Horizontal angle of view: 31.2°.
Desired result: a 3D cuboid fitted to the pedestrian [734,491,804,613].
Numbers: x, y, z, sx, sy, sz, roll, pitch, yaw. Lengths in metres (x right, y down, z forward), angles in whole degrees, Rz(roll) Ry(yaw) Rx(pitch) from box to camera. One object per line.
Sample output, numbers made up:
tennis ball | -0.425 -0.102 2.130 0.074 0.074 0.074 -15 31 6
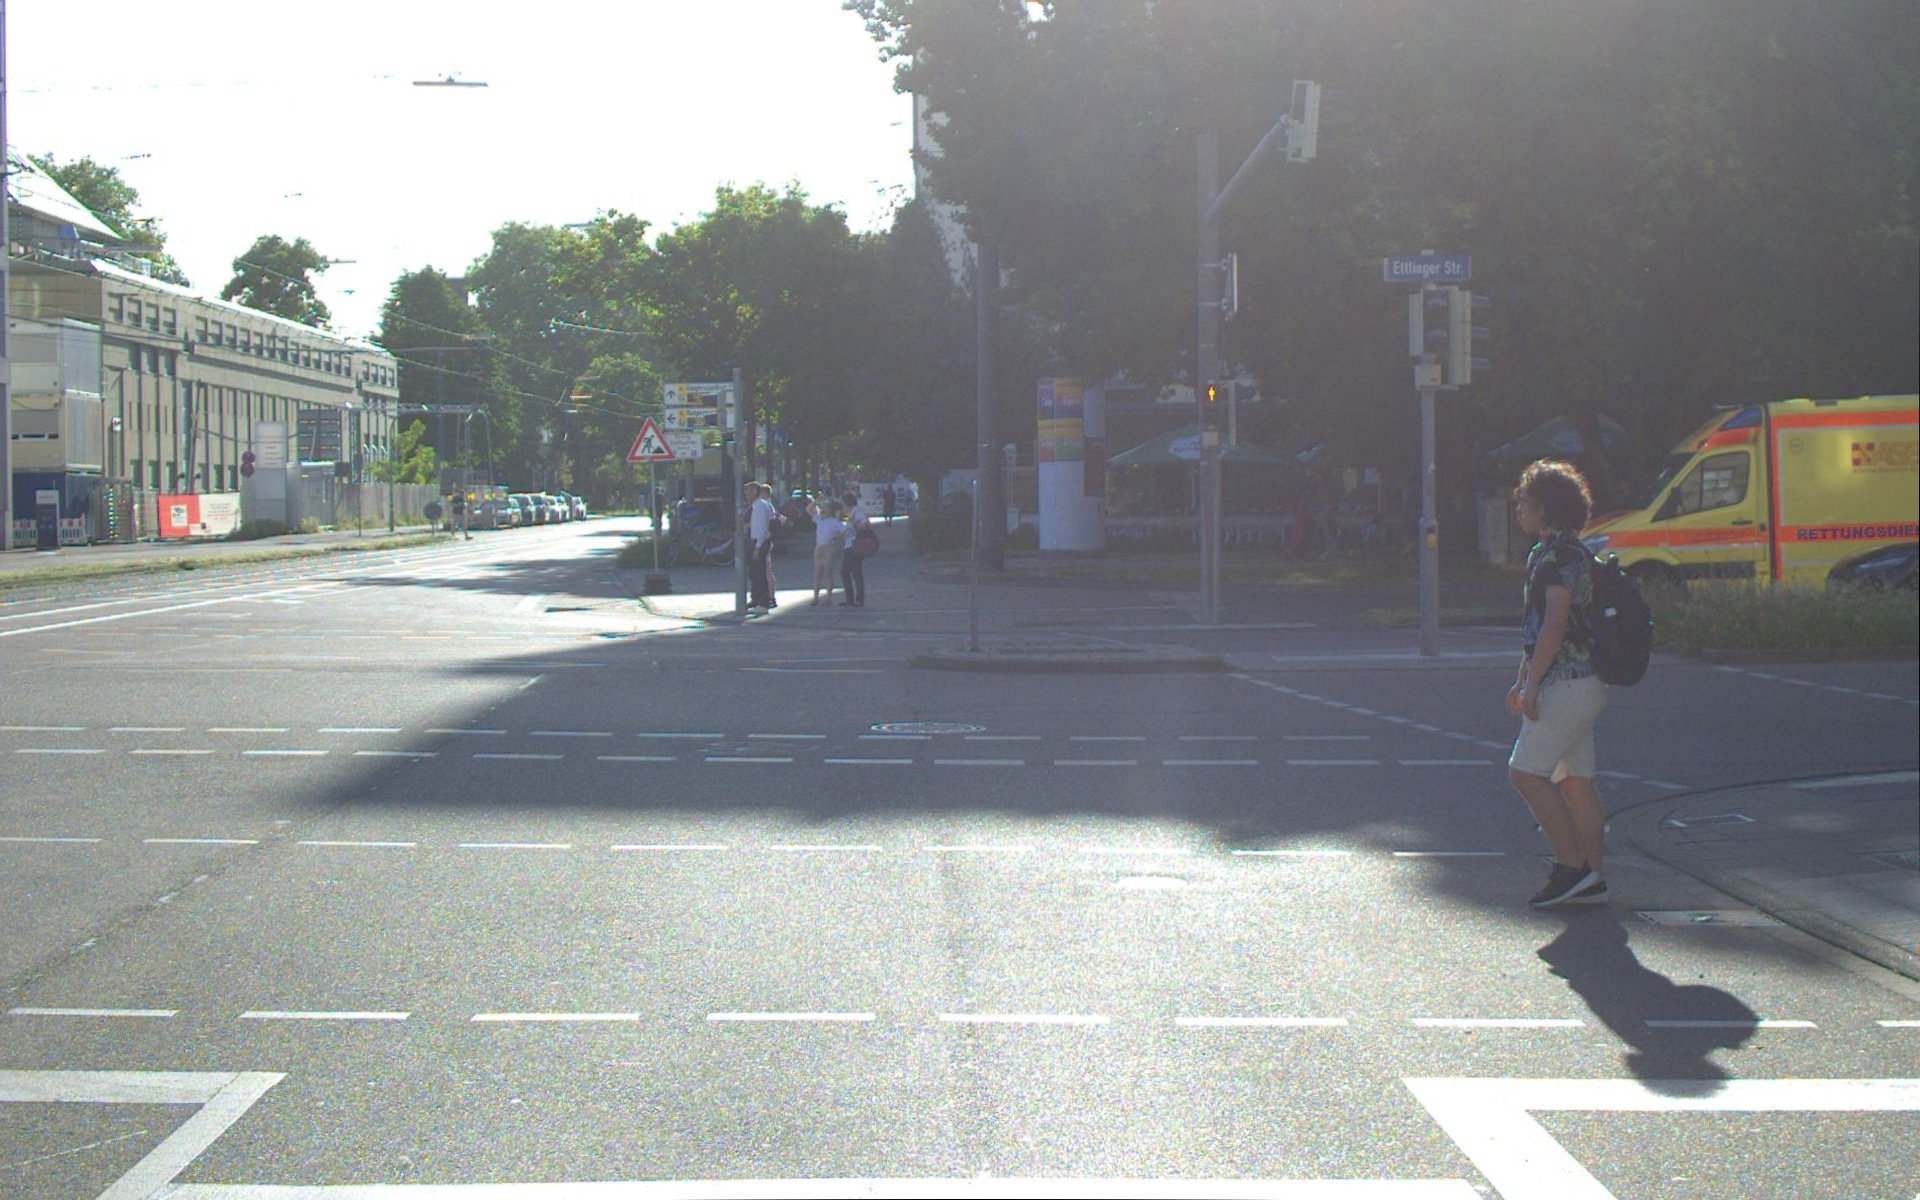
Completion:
pedestrian | -2.822 -0.719 50.689 0.847 1.778 0.780 -1 2 -16

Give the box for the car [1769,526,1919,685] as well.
car | 11.097 0.082 36.946 4.314 1.641 1.888 1 1 0

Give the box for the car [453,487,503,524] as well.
car | -22.429 -4.398 160.147 1.819 1.706 3.806 -1 2 -1

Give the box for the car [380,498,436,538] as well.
car | -23.771 -3.540 148.205 1.819 1.706 3.806 -1 2 -1

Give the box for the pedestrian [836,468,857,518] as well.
pedestrian | -8.247 -7.756 249.732 1.401 3.584 1.568 1 1 -1

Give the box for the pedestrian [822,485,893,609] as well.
pedestrian | -1.506 -0.779 50.271 0.847 1.778 0.780 -1 2 -16

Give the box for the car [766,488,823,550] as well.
car | -5.361 -2.614 111.595 1.684 1.955 3.509 1 1 -1

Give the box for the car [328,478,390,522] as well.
car | -24.005 -3.999 137.415 1.819 1.706 3.806 -1 2 -1

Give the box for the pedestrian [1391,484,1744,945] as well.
pedestrian | 2.360 0.412 13.458 1.039 1.715 1.035 -1 2 -12

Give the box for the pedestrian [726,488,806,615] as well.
pedestrian | -2.766 -0.703 49.014 0.965 1.778 0.780 -1 2 -16

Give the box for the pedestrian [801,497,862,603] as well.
pedestrian | -1.905 -0.741 50.917 0.762 1.553 0.588 -1 2 -16

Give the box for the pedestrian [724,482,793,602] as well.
pedestrian | -3.022 -0.875 51.536 0.847 1.778 0.780 -1 2 -16

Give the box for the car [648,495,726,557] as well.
car | -6.867 -1.845 86.733 1.684 1.495 3.509 1 1 -1

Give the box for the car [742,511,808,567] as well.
car | -5.148 -1.695 95.992 1.684 1.495 3.509 1 1 -1

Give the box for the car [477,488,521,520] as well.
car | -21.984 -4.589 164.065 1.609 1.493 3.806 -1 2 -1

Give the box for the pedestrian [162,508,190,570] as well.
pedestrian | -17.018 -1.325 74.634 0.511 1.324 0.369 0 1 1

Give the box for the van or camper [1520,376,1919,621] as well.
van or camper | 10.496 -1.214 42.635 6.709 2.851 2.910 1 1 4
